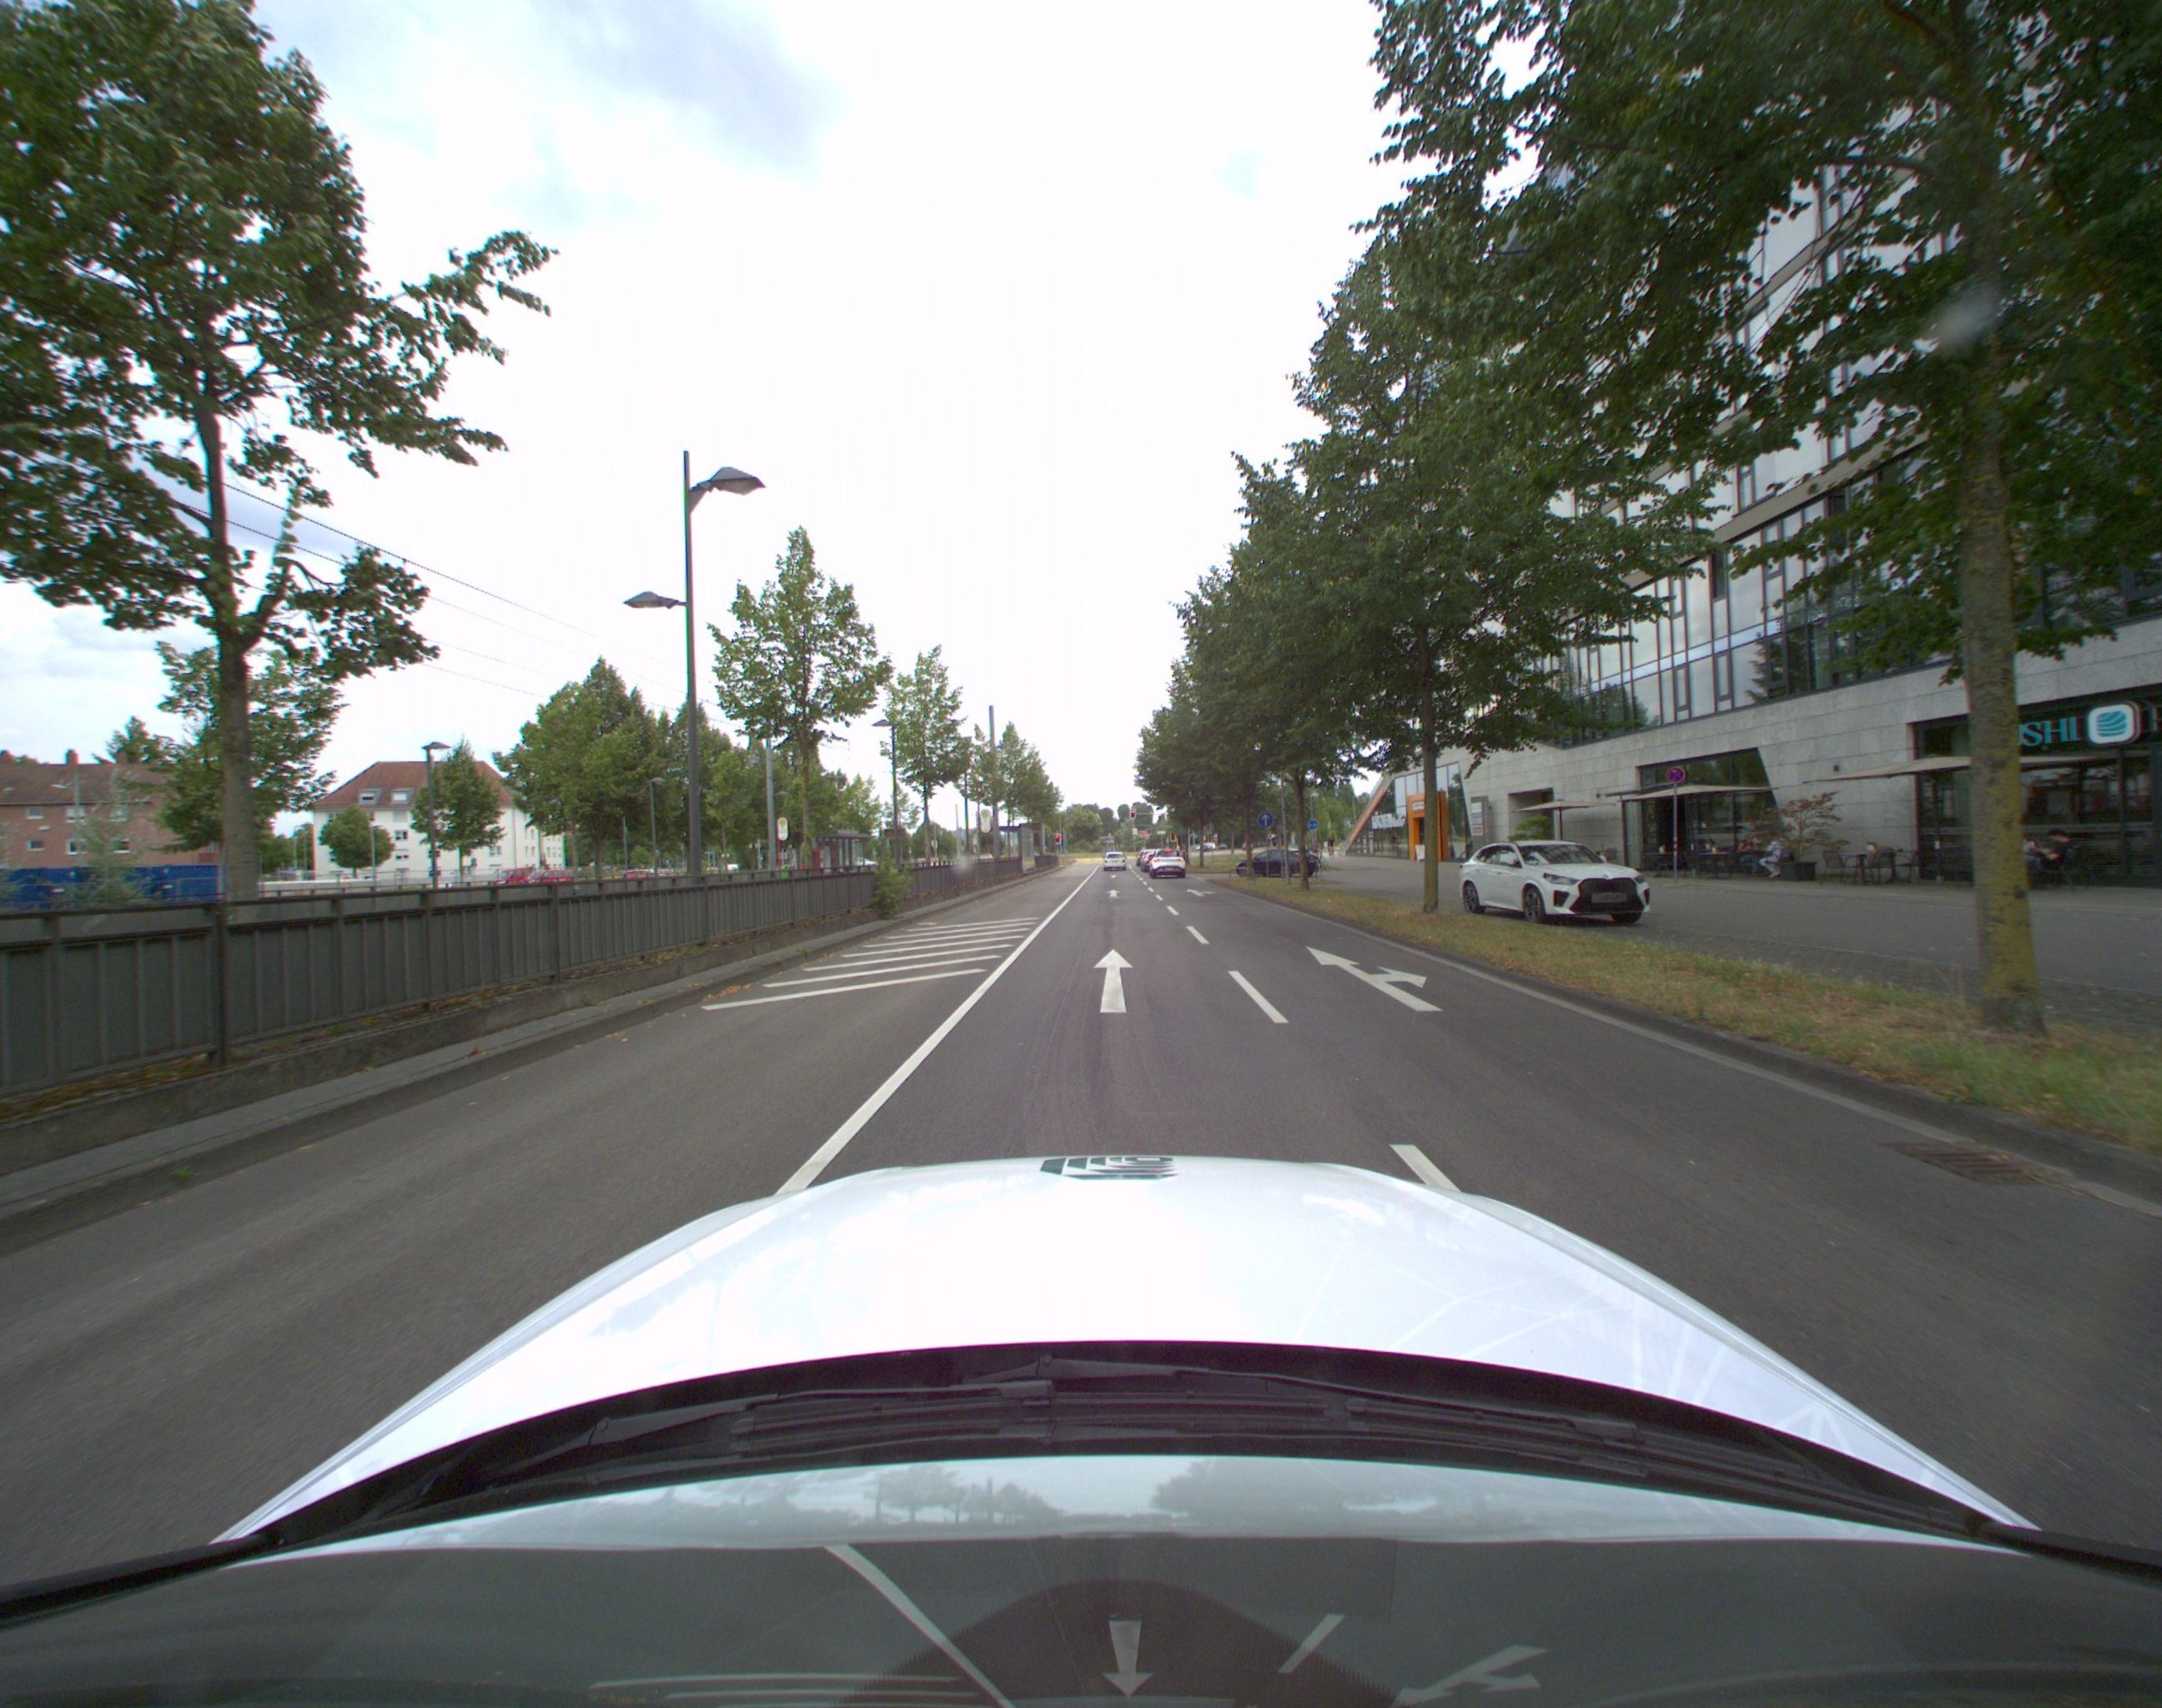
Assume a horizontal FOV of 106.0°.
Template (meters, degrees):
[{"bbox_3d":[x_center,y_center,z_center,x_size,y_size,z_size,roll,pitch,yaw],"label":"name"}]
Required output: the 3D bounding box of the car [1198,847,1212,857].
[{"bbox_3d":[22.570,-0.323,148.490,1.987,1.791,3.999,0,0,-1],"label":"car"}]

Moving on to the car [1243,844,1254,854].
[{"bbox_3d":[29.435,-0.953,143.095,1.771,1.636,4.417,-2,0,12],"label":"car"}]

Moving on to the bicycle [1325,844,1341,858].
[{"bbox_3d":[19.619,-0.248,63.538,0.670,1.042,2.008,-2,0,2],"label":"bicycle"}]

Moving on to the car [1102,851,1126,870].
[{"bbox_3d":[2.633,0.524,65.004,1.767,1.448,3.911,-1,0,1],"label":"car"}]

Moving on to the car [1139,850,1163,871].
[{"bbox_3d":[5.855,0.501,68.221,1.780,1.624,3.913,-2,0,3],"label":"car"}]

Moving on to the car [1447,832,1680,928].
[{"bbox_3d":[9.207,0.424,16.094,1.931,1.552,4.595,-2,0,1],"label":"car"}]

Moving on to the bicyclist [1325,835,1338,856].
[{"bbox_3d":[19.600,-0.639,63.658,0.722,1.582,0.990,-2,0,2],"label":"bicyclist"}]

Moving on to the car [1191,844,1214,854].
[{"bbox_3d":[25.689,-1.087,171.935,5.027,2.013,1.976,-3,0,-41],"label":"car"}]

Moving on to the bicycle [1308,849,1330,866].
[{"bbox_3d":[14.805,0.213,50.659,0.628,0.956,2.106,-2,0,-2],"label":"bicycle"}]

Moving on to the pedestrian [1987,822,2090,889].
[{"bbox_3d":[18.157,0.025,15.474,0.766,1.192,1.111,-2,0,17],"label":"pedestrian"}]

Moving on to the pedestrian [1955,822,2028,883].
[{"bbox_3d":[18.675,-0.029,16.722,0.712,1.192,0.763,-3,0,24],"label":"pedestrian"}]

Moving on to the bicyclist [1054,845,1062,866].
[{"bbox_3d":[-2.229,0.155,79.979,0.726,1.883,0.735,-3,9,-2],"label":"bicyclist"}]

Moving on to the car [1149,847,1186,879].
[{"bbox_3d":[4.782,0.461,45.653,1.772,1.656,4.026,-2,0,3],"label":"car"}]

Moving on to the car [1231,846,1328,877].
[{"bbox_3d":[10.157,0.412,42.116,1.955,1.475,4.820,-2,0,-33],"label":"car"}]

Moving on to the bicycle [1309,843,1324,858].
[{"bbox_3d":[18.310,-0.291,63.404,0.670,1.143,2.008,-2,0,2],"label":"bicycle"}]

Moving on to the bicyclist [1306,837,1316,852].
[{"bbox_3d":[26.980,-1.097,95.620,0.863,1.789,1.175,-2,0,1],"label":"bicyclist"}]

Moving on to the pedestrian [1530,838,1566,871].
[{"bbox_3d":[18.490,0.015,32.242,0.893,1.228,0.952,-2,0,7],"label":"pedestrian"}]

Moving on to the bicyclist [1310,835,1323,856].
[{"bbox_3d":[18.284,-0.632,63.279,0.722,1.582,0.990,-2,0,2],"label":"bicyclist"}]

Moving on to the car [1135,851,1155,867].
[{"bbox_3d":[5.952,0.468,75.830,1.619,1.448,3.911,-1,0,1],"label":"car"}]

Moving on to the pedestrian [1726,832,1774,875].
[{"bbox_3d":[19.227,-0.014,23.407,0.716,1.192,0.759,-2,0,1],"label":"pedestrian"}]

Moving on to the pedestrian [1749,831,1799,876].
[{"bbox_3d":[19.181,-0.025,22.556,0.715,1.192,0.759,-2,0,3],"label":"pedestrian"}]

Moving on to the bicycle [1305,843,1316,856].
[{"bbox_3d":[26.929,-0.554,95.600,0.703,1.505,2.007,-2,0,0],"label":"bicycle"}]

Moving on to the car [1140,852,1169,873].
[{"bbox_3d":[5.391,0.612,60.152,1.781,1.432,4.311,-2,0,0],"label":"car"}]
